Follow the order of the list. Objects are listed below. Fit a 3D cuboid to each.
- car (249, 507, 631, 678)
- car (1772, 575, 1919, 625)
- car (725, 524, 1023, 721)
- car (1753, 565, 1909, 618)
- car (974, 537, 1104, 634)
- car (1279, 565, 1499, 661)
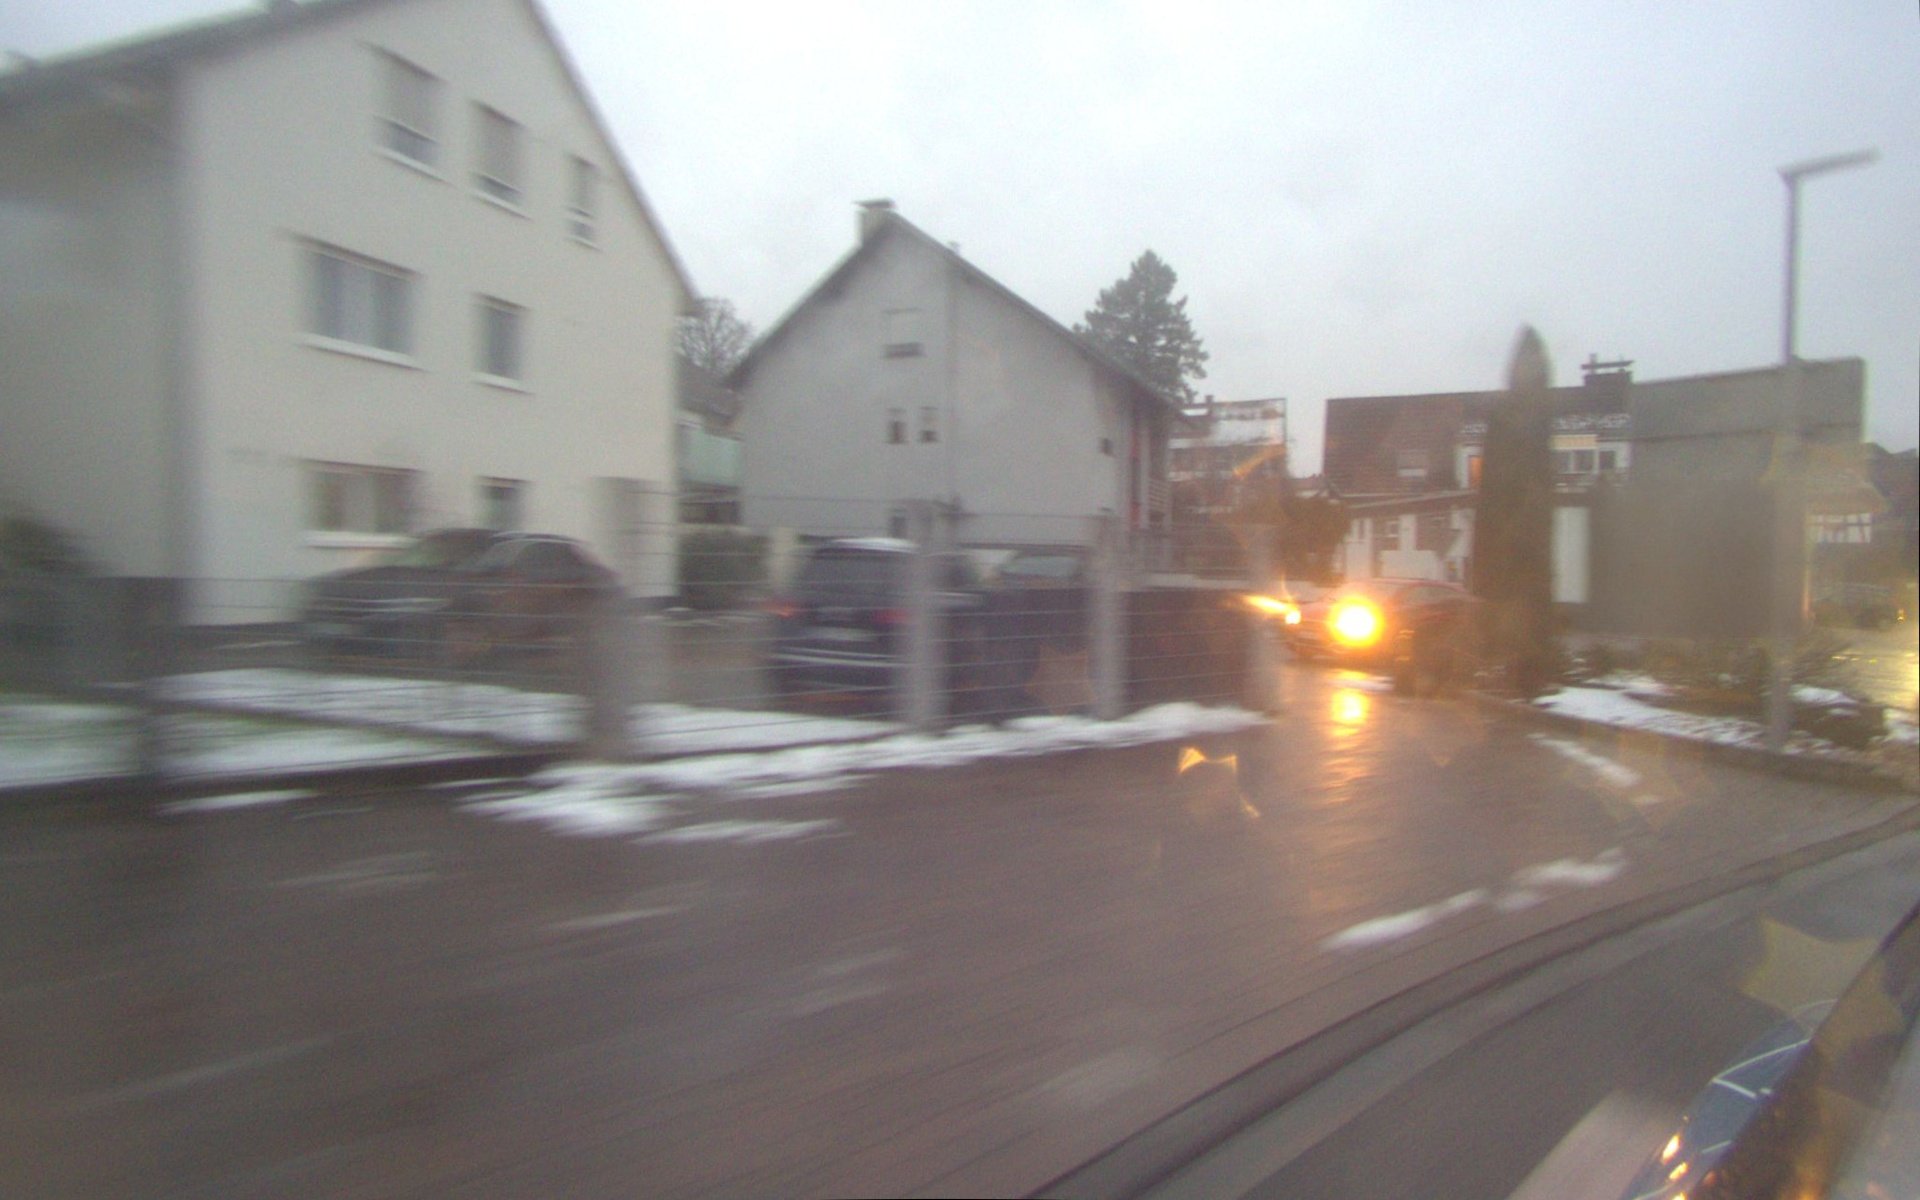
[{"bbox_3d":[-5.865,-0.169,12.010,1.790,1.585,3.982,4,3,16],"label":"car"},{"bbox_3d":[35.080,-0.039,40.221,3.853,1.466,1.875,6,6,24],"label":"car"},{"bbox_3d":[-0.683,0.095,11.282,1.790,1.648,4.530,4,3,15],"label":"car"},{"bbox_3d":[36.520,-0.396,42.571,4.427,1.679,1.843,7,7,22],"label":"car"},{"bbox_3d":[1.707,-0.350,20.467,1.790,1.652,4.117,4,3,16],"label":"car"},{"bbox_3d":[7.366,0.184,17.331,3.624,1.484,1.553,0,2,-29],"label":"car"}]
